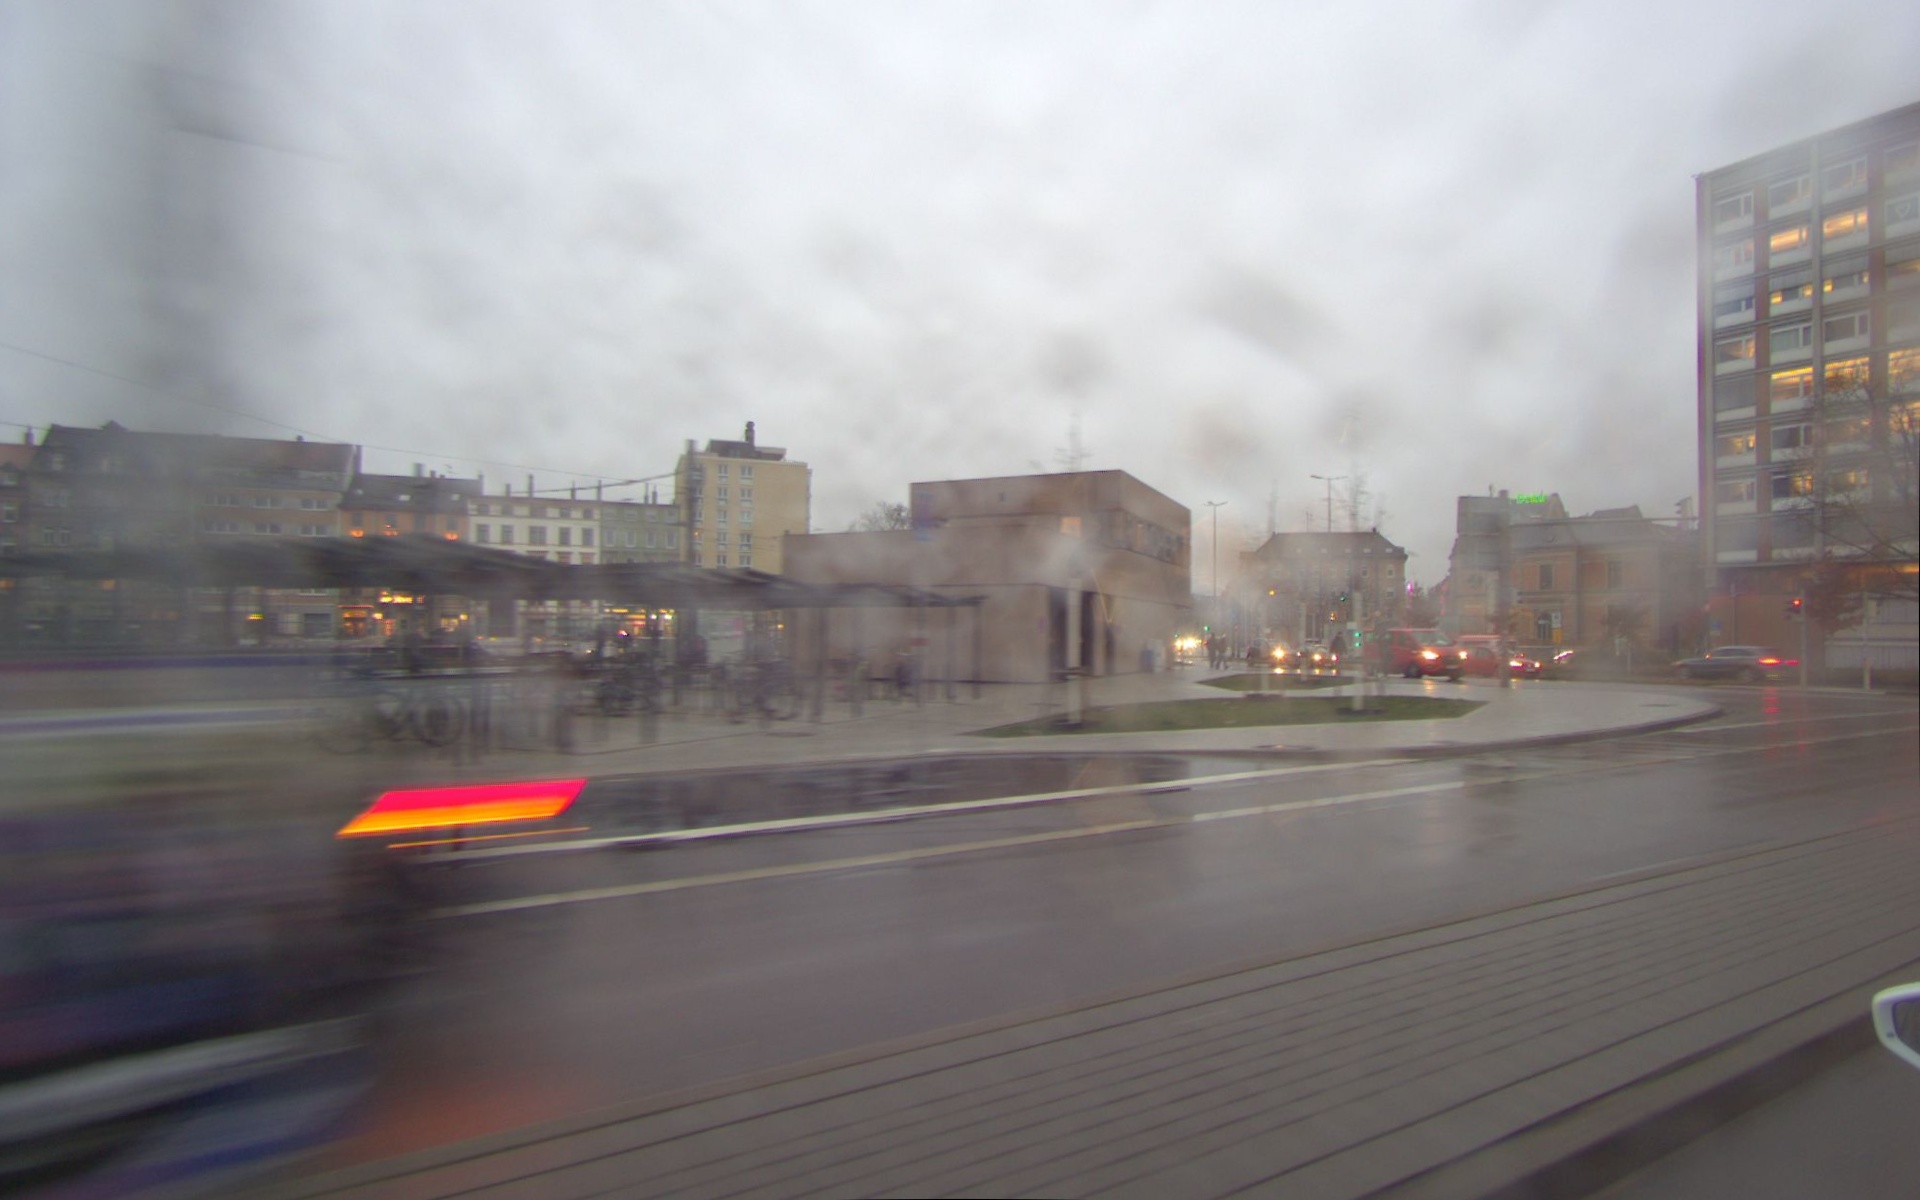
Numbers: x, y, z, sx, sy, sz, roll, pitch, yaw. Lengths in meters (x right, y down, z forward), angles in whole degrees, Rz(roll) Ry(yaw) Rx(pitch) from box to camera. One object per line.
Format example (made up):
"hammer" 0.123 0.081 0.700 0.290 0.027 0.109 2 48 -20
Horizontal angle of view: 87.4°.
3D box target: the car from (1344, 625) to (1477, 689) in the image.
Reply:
"car" 17.965 2.223 40.397 2.220 2.311 5.025 3 -1 -13

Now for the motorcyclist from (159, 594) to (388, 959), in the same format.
"motorcyclist" -2.517 0.600 3.730 0.604 1.209 0.532 3 -1 -33

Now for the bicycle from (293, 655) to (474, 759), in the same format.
"bicycle" -7.251 1.310 12.740 0.540 1.180 1.939 2 -1 30

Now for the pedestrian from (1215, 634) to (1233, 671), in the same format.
"pedestrian" 12.994 2.593 49.422 0.576 1.795 0.610 3 -1 -16

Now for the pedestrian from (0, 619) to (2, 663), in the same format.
"pedestrian" -22.812 1.241 23.219 0.701 1.639 0.717 1 -2 26

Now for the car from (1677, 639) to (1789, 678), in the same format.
"car" 34.744 2.603 45.266 1.445 1.505 3.917 3 -1 -14

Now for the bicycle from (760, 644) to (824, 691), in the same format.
"bicycle" -4.456 1.787 26.767 0.540 1.180 1.895 2 -1 30

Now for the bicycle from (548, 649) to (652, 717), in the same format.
"bicycle" -6.771 1.541 18.989 0.540 1.180 1.895 2 -1 30

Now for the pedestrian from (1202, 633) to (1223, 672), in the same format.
"pedestrian" 12.391 2.563 49.238 0.670 1.839 0.692 3 -1 -16

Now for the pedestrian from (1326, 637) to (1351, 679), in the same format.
"pedestrian" 15.685 2.396 41.649 0.781 1.719 0.461 3 -1 -7

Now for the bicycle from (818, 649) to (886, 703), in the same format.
"bicycle" -2.505 1.756 23.573 0.540 1.180 1.895 2 -1 30

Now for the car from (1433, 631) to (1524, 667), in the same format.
"car" 31.232 2.917 60.684 1.966 1.938 5.157 1 -1 -14

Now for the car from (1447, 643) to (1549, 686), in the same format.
"car" 24.509 2.929 45.918 1.732 1.706 4.069 3 -1 -17

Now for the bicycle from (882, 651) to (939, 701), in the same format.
"bicycle" -1.228 1.883 25.213 0.540 1.180 1.897 2 -1 26

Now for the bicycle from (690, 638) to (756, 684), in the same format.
"bicycle" -6.335 1.622 26.940 0.540 1.180 1.895 2 -1 30

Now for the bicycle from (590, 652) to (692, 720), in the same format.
"bicycle" -5.936 1.571 18.796 0.540 1.180 1.895 2 -1 30

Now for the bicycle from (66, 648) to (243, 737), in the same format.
"bicycle" -11.687 1.305 14.648 0.540 1.180 1.895 2 -1 30

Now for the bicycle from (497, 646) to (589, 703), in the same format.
"bicycle" -9.267 1.634 22.401 0.540 1.180 1.895 2 -1 30

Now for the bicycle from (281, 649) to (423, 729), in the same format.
"bicycle" -9.763 1.401 16.211 0.540 1.180 1.895 2 -1 30

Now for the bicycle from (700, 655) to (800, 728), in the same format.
"bicycle" -3.633 1.566 17.571 0.540 1.180 1.895 2 -1 30

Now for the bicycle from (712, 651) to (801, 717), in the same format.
"bicycle" -3.933 1.607 19.549 0.540 1.180 1.895 2 -1 30

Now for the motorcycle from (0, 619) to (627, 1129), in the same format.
"motorcycle" -2.507 0.843 3.710 2.289 1.517 0.824 2 -2 -32

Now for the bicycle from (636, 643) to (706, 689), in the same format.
"bicycle" -7.692 1.747 26.835 0.540 1.180 1.895 2 -1 30

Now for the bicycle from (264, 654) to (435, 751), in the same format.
"bicycle" -8.158 1.334 13.527 0.540 1.180 1.895 2 -1 30
